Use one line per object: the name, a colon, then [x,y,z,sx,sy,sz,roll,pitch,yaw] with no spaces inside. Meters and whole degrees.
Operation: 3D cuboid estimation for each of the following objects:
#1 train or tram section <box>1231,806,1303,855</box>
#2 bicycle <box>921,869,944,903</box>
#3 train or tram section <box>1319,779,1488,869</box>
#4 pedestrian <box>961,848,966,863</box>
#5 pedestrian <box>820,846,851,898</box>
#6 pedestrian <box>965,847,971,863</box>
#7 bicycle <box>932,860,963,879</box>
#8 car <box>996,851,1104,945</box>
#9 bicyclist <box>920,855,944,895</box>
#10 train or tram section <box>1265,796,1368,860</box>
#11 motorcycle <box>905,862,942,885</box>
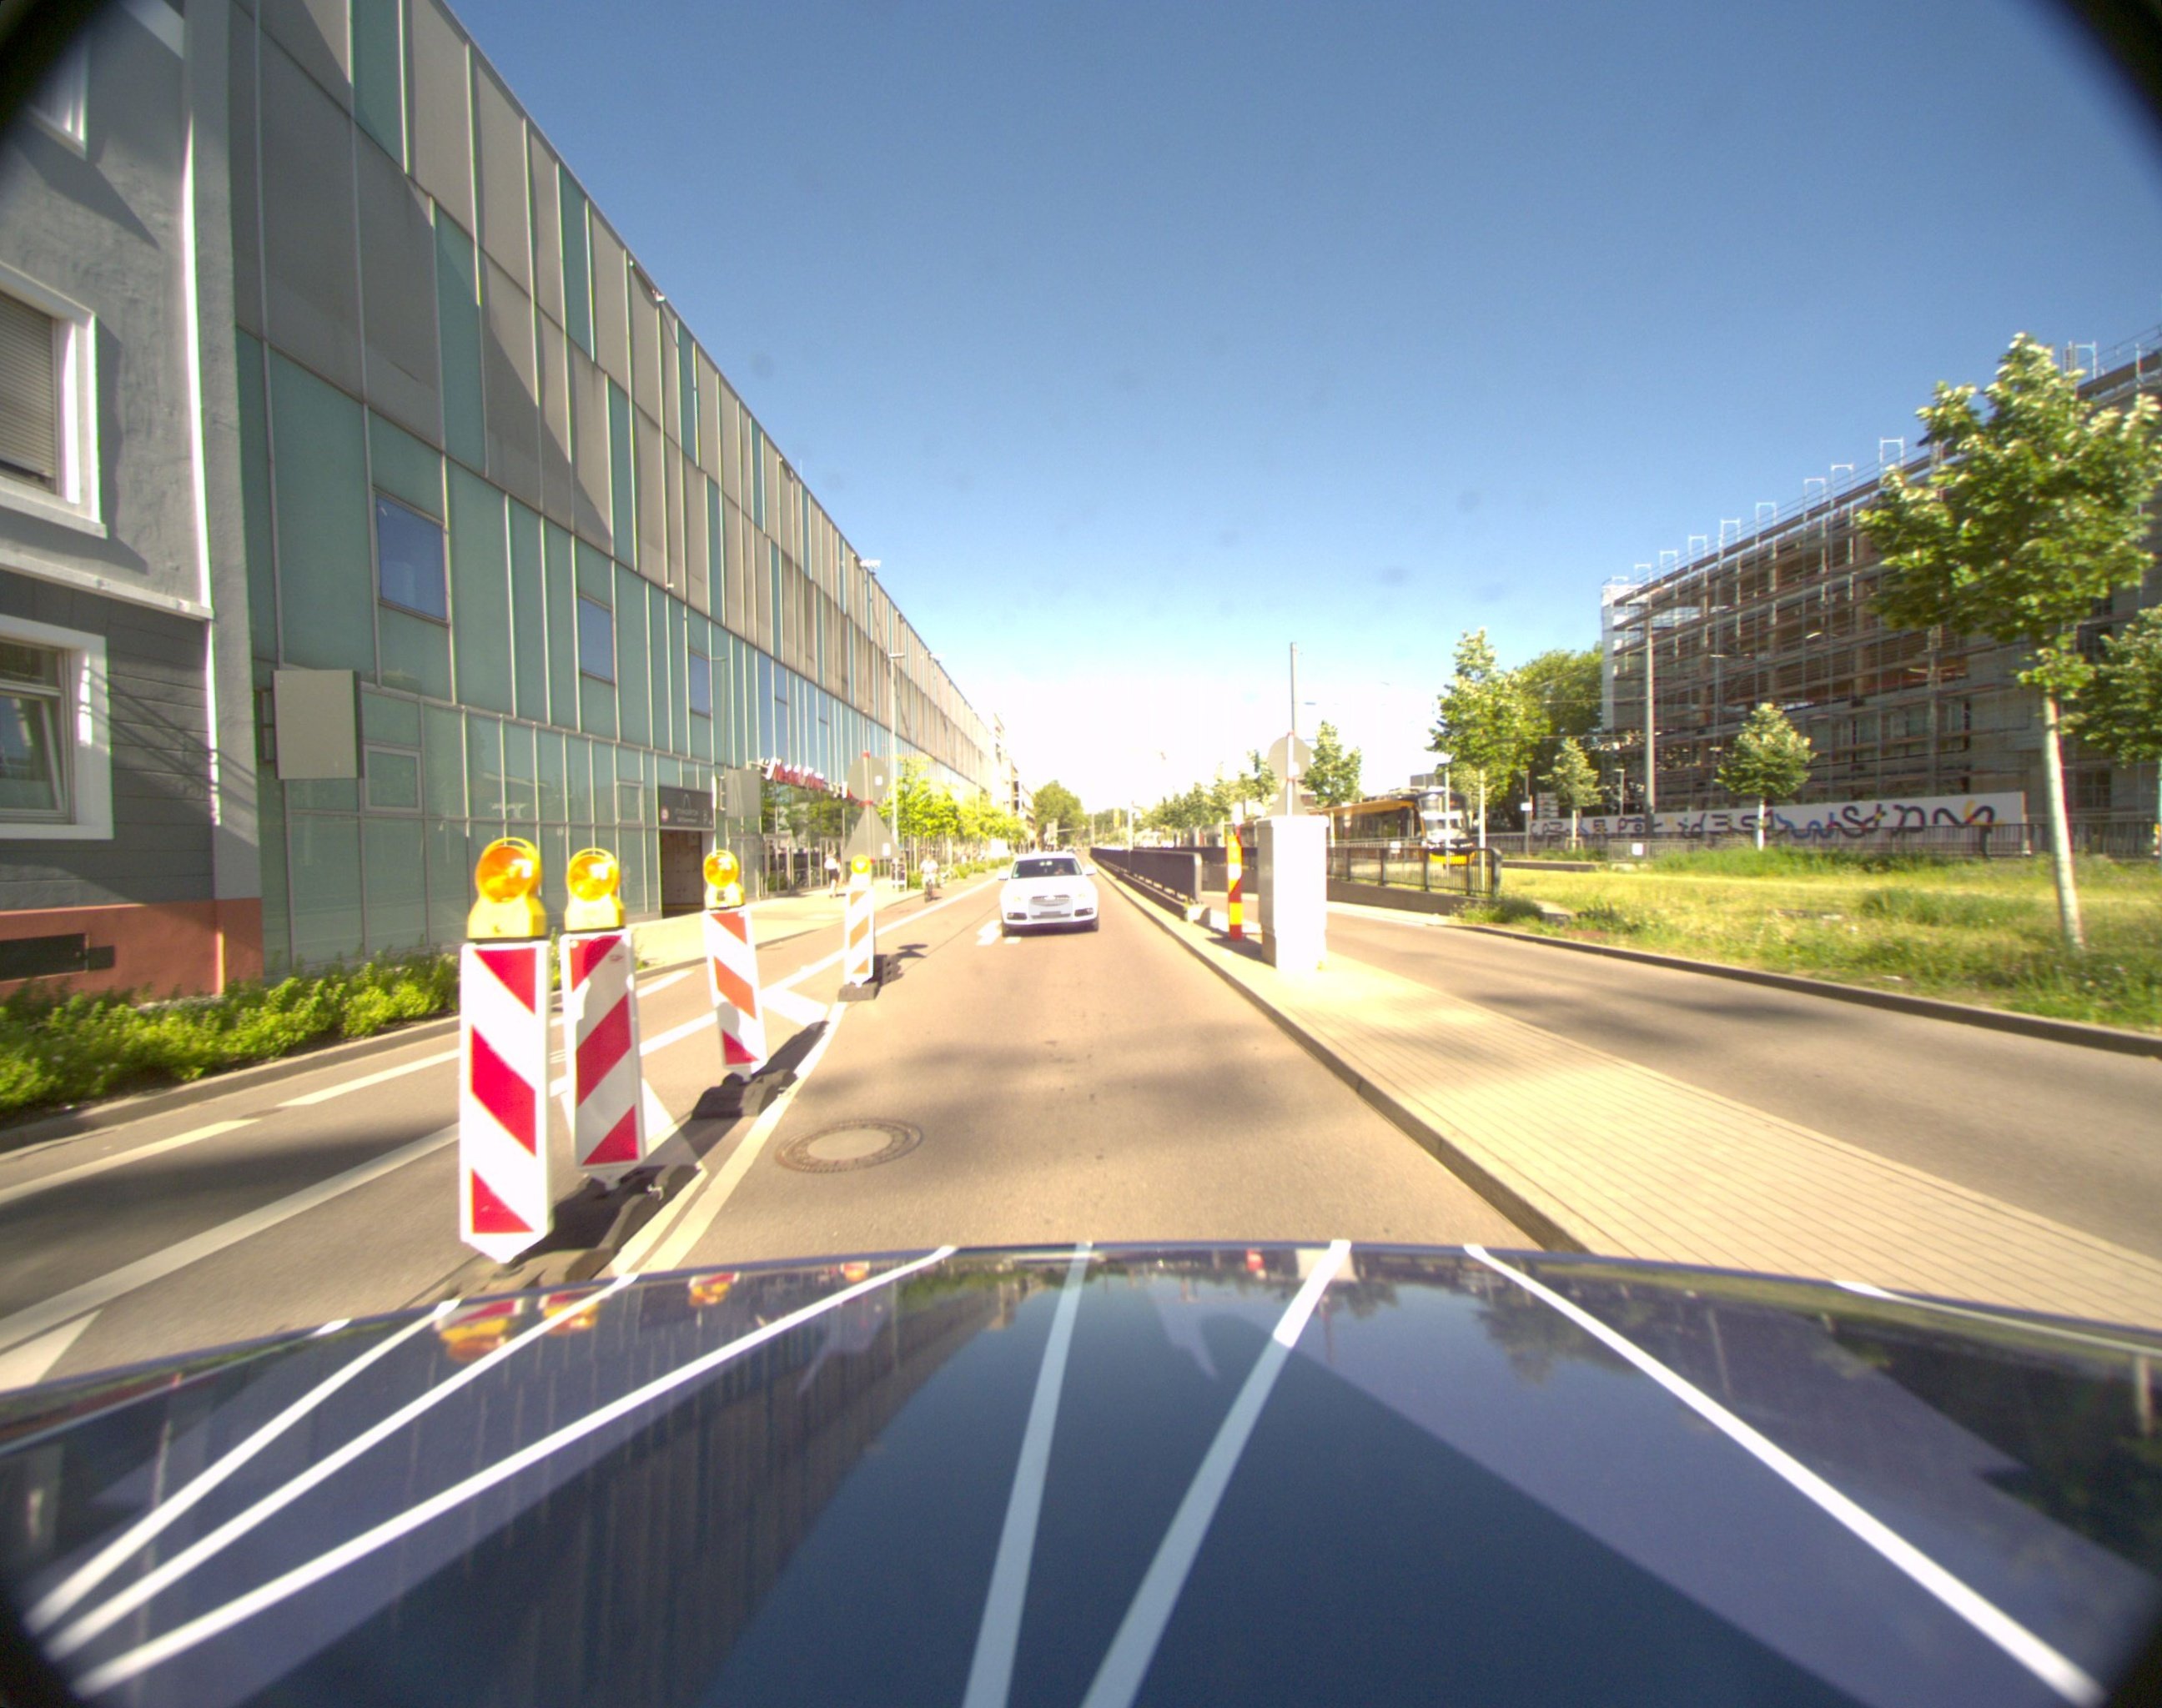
train or tram section: [15.023,-1.865,62.662,2.823,3.618,12.786,-1,1,0]
bicycle: [-5.577,1.192,28.613,0.610,1.144,1.986,-3,2,-5]
train or tram section: [15.043,-1.338,37.107,2.823,3.618,12.786,-1,1,0]
pedestrian: [-12.828,0.200,83.222,0.450,1.591,0.287,-2,1,-1]
pedestrian: [-9.444,0.692,29.258,0.877,1.914,0.895,1,3,-1]
pedestrian: [-12.447,0.123,83.663,0.450,1.681,0.345,-2,1,-1]
bicycle: [-7.844,0.900,44.521,1.741,1.056,0.467,1,1,-16]
car: [-0.679,0.816,16.122,1.934,1.624,3.998,-3,1,-3]
bicyclist: [-5.617,0.776,28.656,0.755,1.454,0.587,-2,2,-5]
train or tram section: [15.023,-1.597,49.884,2.823,3.618,12.786,-1,1,0]
motorcycle: [-8.217,1.006,39.585,1.876,1.076,0.645,1,2,23]
